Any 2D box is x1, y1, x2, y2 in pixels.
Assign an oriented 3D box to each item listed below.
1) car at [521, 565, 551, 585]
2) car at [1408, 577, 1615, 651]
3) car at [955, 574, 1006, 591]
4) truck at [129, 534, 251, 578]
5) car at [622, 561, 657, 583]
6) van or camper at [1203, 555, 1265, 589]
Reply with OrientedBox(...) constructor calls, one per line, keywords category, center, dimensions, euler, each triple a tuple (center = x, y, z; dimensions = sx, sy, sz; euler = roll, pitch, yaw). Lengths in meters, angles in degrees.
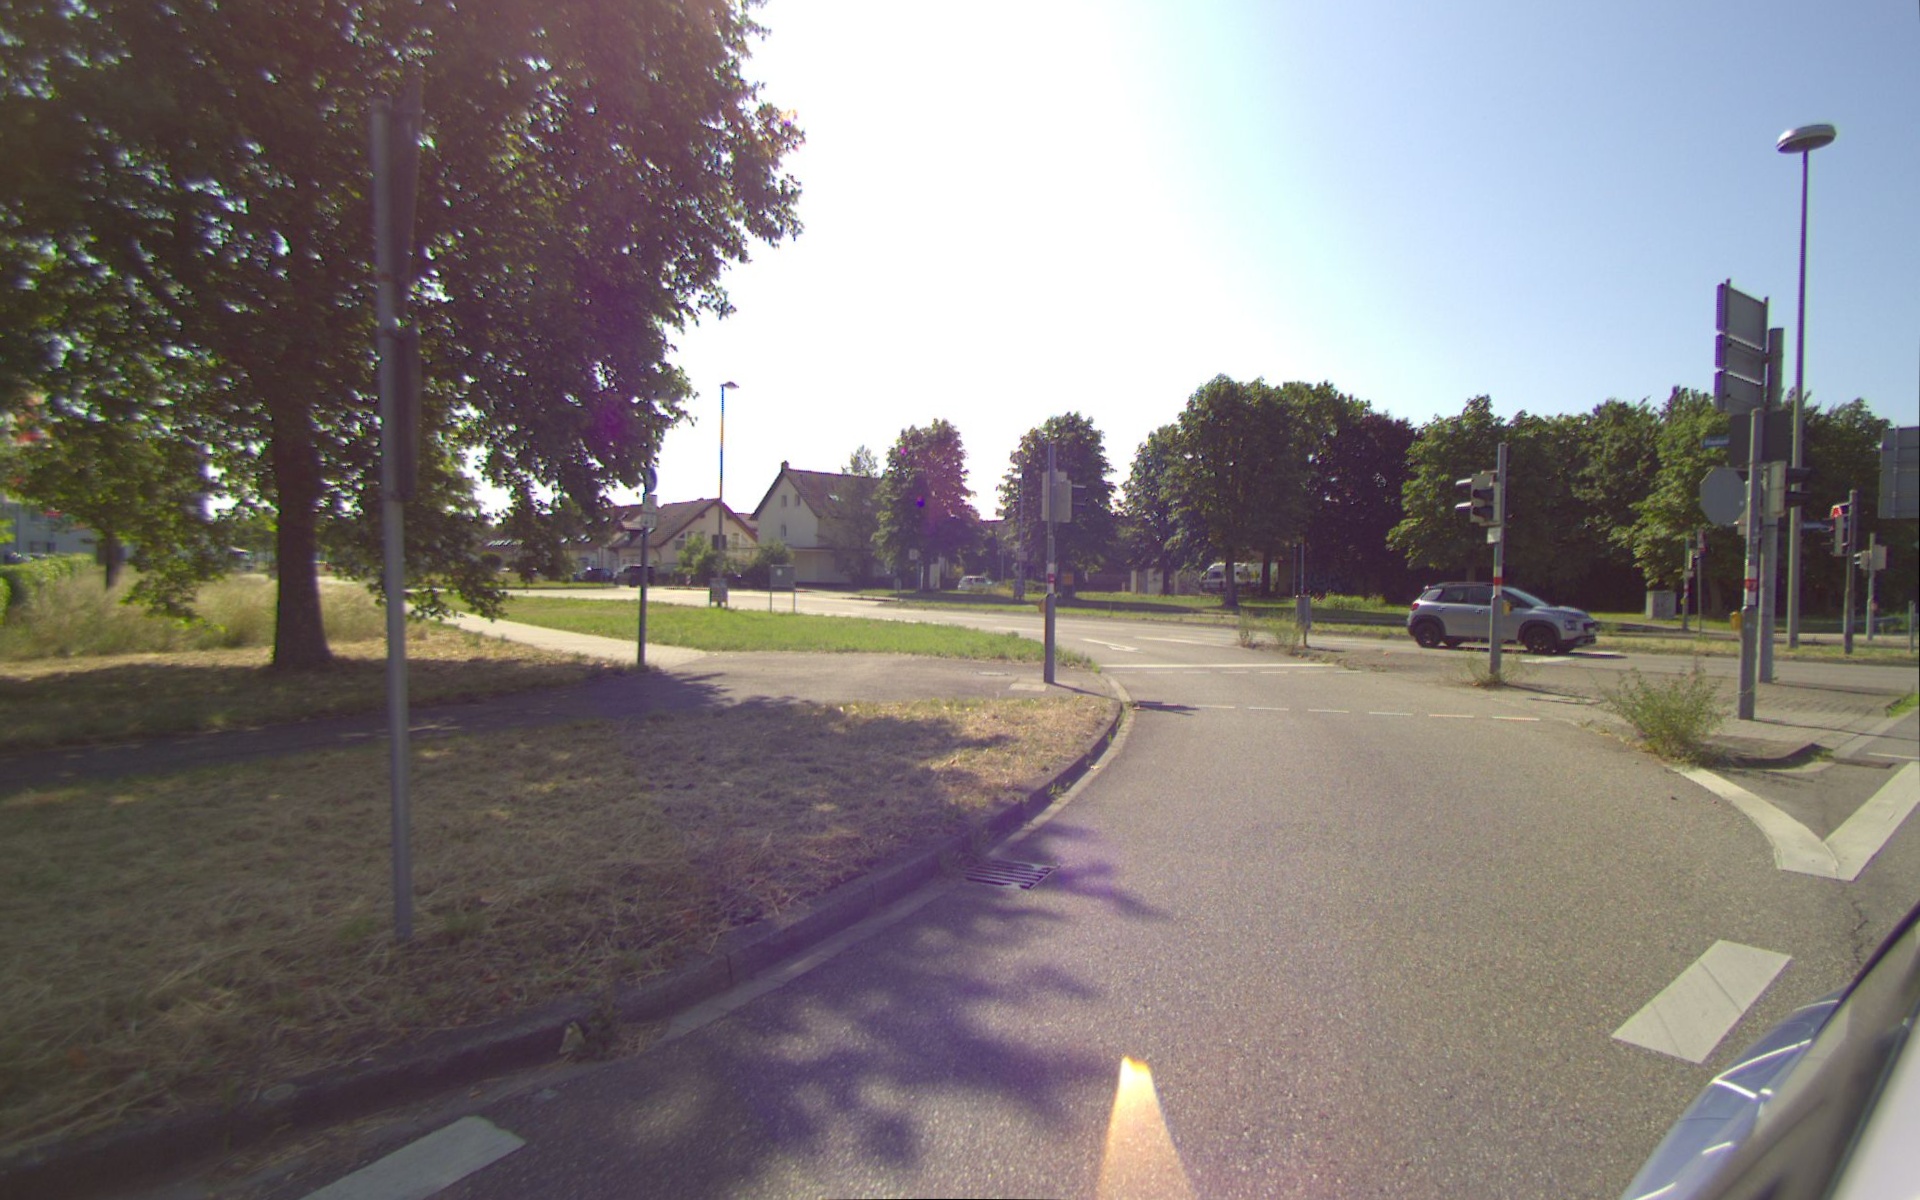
OrientedBox(category="car", center=(-43.900, -2.558, 104.666), dimensions=(1.963, 1.950, 3.998), euler=(-1, 1, -37))
OrientedBox(category="car", center=(13.233, 0.263, 24.465), dimensions=(1.712, 1.583, 4.059), euler=(-1, 2, -41))
OrientedBox(category="car", center=(1.689, -1.422, 82.127), dimensions=(3.929, 1.304, 1.731), euler=(-1, 2, -40))
OrientedBox(category="truck", center=(-66.890, -3.780, 88.069), dimensions=(8.080, 3.589, 2.639), euler=(0, 1, -15))
OrientedBox(category="car", center=(-26.735, -2.338, 84.277), dimensions=(1.960, 1.812, 4.005), euler=(0, 2, -30))
OrientedBox(category="van or camper", center=(23.589, -2.406, 87.166), dimensions=(1.966, 2.866, 4.805), euler=(0, 2, -43))
